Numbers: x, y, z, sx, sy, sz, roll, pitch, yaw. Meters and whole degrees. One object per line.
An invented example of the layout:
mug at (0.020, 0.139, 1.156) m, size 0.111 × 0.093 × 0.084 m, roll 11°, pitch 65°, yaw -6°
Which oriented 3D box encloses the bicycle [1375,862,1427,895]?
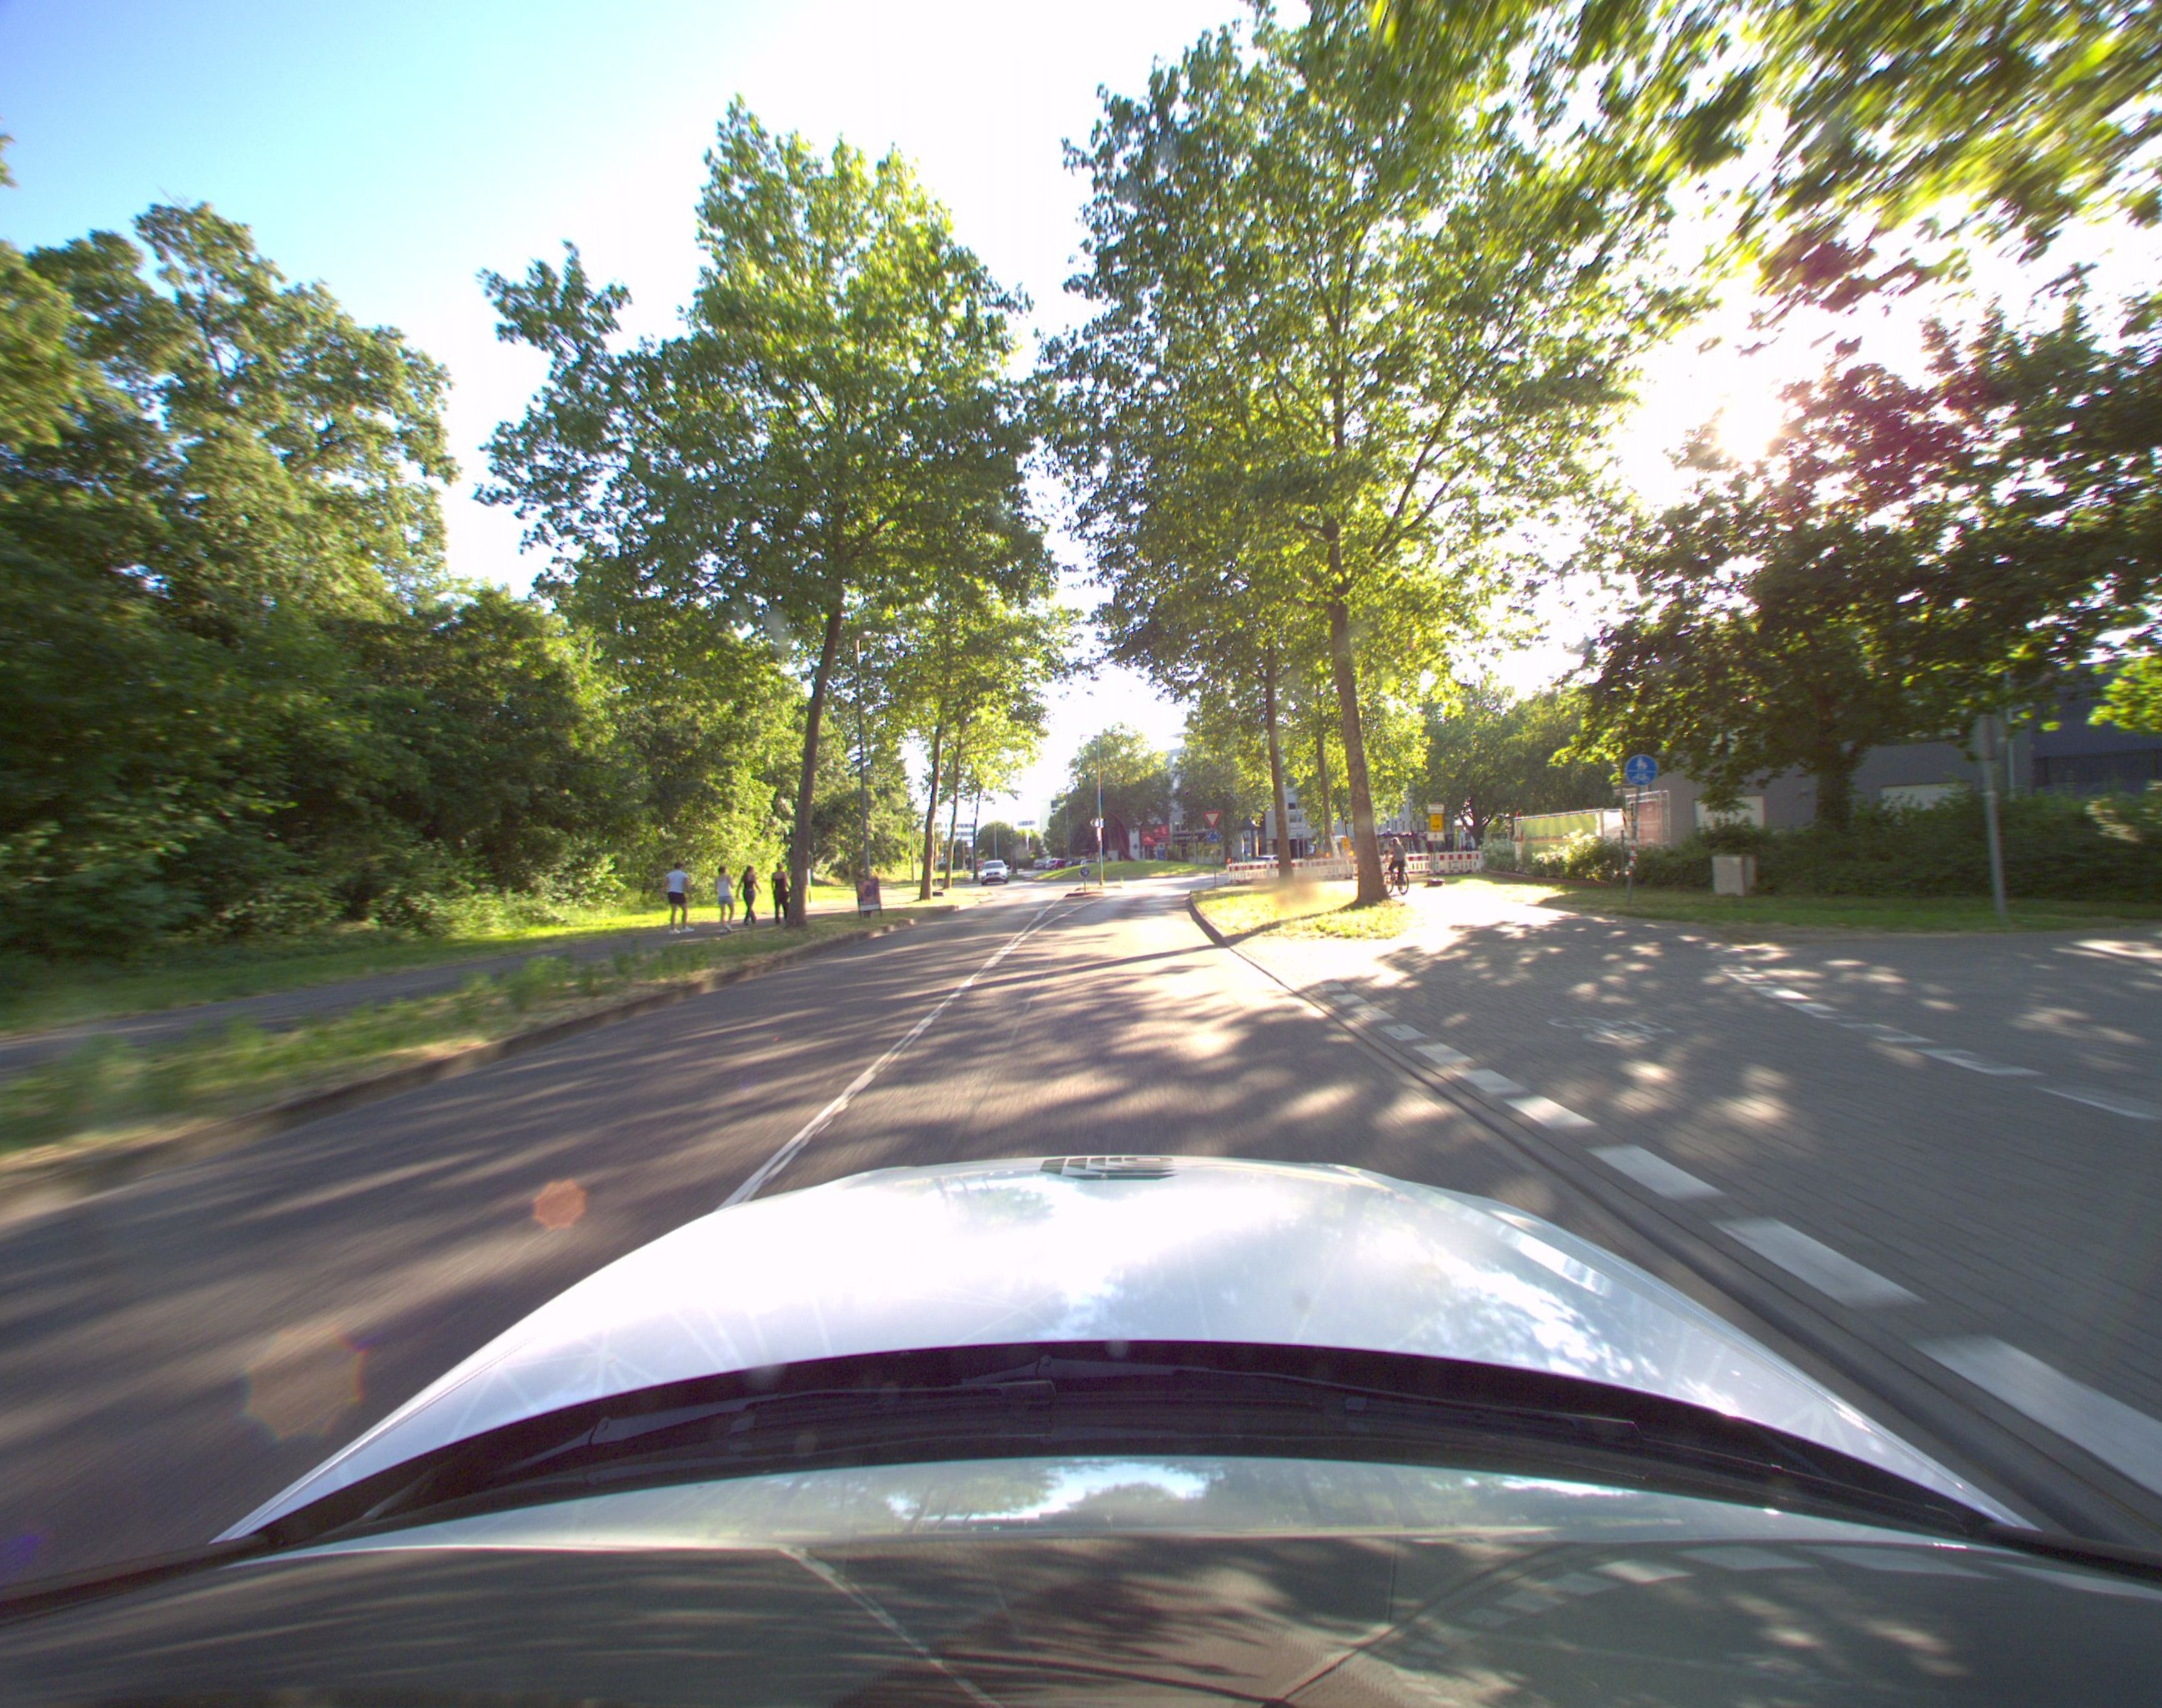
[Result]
bicycle at (10.117, 0.764, 25.837) m, size 0.767 × 0.964 × 2.174 m, roll -4°, pitch -1°, yaw 1°

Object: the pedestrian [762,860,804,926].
pedestrian at (-8.209, 1.056, 22.438) m, size 0.745 × 1.739 × 0.852 m, roll -2°, pitch -1°, yaw 3°

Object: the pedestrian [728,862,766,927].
pedestrian at (-9.238, 1.111, 22.563) m, size 0.662 × 1.739 × 0.752 m, roll -2°, pitch -1°, yaw 3°

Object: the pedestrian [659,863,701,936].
pedestrian at (-9.879, 1.100, 20.057) m, size 0.630 × 1.739 × 0.665 m, roll -2°, pitch -1°, yaw 3°

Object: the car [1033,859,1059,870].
car at (-5.984, 1.799, 138.608) m, size 4.010 × 1.747 × 1.779 m, roll -1°, pitch 0°, yaw -29°

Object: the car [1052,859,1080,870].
car at (-2.311, 1.650, 127.783) m, size 4.010 × 1.747 × 1.779 m, roll -1°, pitch 0°, yaw -29°

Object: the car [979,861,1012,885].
car at (-6.077, 1.345, 58.098) m, size 1.988 × 1.578 × 3.996 m, roll -2°, pitch -1°, yaw -2°

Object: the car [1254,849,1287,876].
car at (12.290, 0.541, 52.651) m, size 1.825 × 1.605 × 3.879 m, roll -2°, pitch -1°, yaw 16°

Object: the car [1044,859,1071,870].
car at (-3.754, 1.697, 130.403) m, size 4.010 × 1.747 × 1.779 m, roll -1°, pitch 0°, yaw -29°

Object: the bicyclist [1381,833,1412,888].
bicyclist at (10.103, 0.205, 26.072) m, size 0.648 × 1.705 × 0.872 m, roll -1°, pitch -1°, yaw 2°

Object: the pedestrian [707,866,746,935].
pedestrian at (-8.665, 1.129, 19.900) m, size 0.630 × 1.638 × 0.577 m, roll -2°, pitch -1°, yaw 3°
